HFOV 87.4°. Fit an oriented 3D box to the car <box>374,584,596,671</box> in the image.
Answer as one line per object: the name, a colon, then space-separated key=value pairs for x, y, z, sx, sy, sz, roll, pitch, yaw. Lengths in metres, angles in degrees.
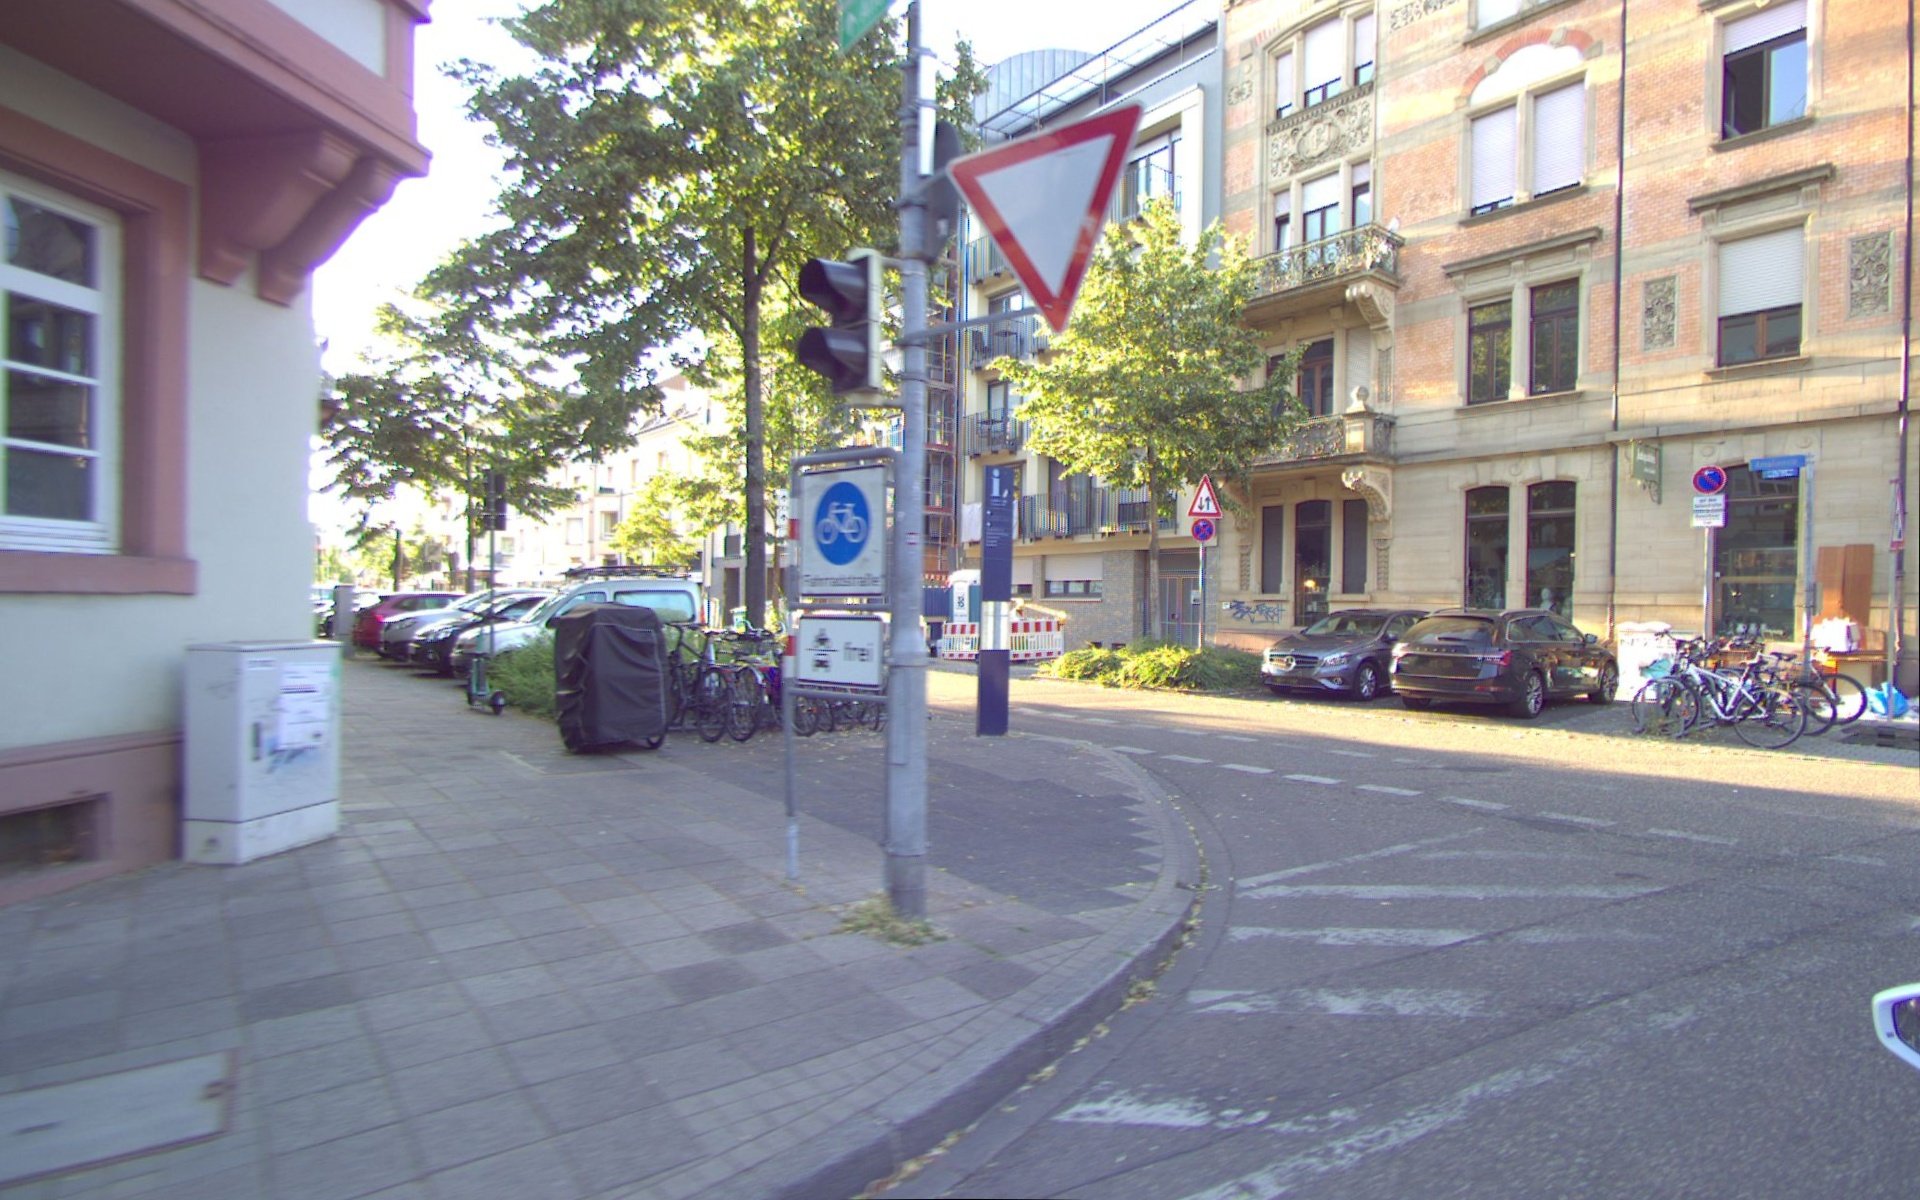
car: x=-9.579 y=0.587 z=20.341 sx=3.801 sy=1.606 sz=1.724 roll=3 pitch=-2 yaw=-36

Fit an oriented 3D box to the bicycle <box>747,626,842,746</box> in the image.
bicycle: x=-1.772 y=0.868 z=10.629 sx=0.310 sy=1.163 sz=1.596 roll=2 pitch=-2 yaw=-35

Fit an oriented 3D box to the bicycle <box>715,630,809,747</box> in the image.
bicycle: x=-2.082 y=0.876 z=10.431 sx=0.338 sy=1.096 sz=1.580 roll=1 pitch=-1 yaw=-35

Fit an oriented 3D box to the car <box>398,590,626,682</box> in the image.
car: x=-8.188 y=0.633 z=18.446 sx=3.623 sy=1.535 sz=1.634 roll=1 pitch=0 yaw=-33

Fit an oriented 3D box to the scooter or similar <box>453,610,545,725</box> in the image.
scooter or similar: x=-5.362 y=0.741 z=11.639 sx=0.672 sy=1.238 sz=1.380 roll=1 pitch=0 yaw=-38

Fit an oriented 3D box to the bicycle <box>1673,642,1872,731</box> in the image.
bicycle: x=11.141 y=1.150 z=13.851 sx=0.461 sy=1.054 sz=2.086 roll=1 pitch=0 yaw=-39

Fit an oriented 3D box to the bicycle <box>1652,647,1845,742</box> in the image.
bicycle: x=9.835 y=1.145 z=12.594 sx=0.634 sy=1.027 sz=1.811 roll=1 pitch=0 yaw=-39

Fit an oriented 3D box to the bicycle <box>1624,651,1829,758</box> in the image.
bicycle: x=8.901 y=1.171 z=11.738 sx=0.566 sy=1.061 sz=1.814 roll=0 pitch=0 yaw=-35

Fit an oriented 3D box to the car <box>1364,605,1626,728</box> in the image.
car: x=8.166 y=0.873 z=15.174 sx=4.501 sy=1.531 sz=1.890 roll=-1 pitch=0 yaw=-39

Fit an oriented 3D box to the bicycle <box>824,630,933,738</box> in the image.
bicycle: x=-0.965 y=0.919 z=11.488 sx=0.393 sy=1.123 sz=1.695 roll=3 pitch=-2 yaw=-35

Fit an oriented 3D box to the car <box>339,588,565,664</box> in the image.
car: x=-11.217 y=0.565 z=22.352 sx=4.189 sy=1.536 sz=1.741 roll=1 pitch=-1 yaw=-42

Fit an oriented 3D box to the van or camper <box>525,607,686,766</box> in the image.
van or camper: x=-3.253 y=0.721 z=9.116 sx=0.934 sy=1.276 sz=1.828 roll=3 pitch=-2 yaw=-33

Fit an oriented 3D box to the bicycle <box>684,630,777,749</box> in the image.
bicycle: x=-2.359 y=0.870 z=10.213 sx=0.320 sy=1.096 sz=1.580 roll=1 pitch=-1 yaw=-35

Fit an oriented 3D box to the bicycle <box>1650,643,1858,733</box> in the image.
bicycle: x=10.522 y=1.129 z=13.385 sx=0.634 sy=1.027 sz=2.086 roll=1 pitch=0 yaw=-39

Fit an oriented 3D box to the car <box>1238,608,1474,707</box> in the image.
car: x=6.960 y=0.893 z=17.454 sx=4.501 sy=1.499 sz=1.847 roll=0 pitch=0 yaw=-39

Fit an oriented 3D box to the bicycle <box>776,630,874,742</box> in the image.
bicycle: x=-1.489 y=0.897 z=10.910 sx=0.317 sy=1.096 sz=1.580 roll=3 pitch=-2 yaw=-35

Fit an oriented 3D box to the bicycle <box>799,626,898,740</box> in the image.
bicycle: x=-1.267 y=0.884 z=11.197 sx=0.328 sy=1.155 sz=1.580 roll=3 pitch=-2 yaw=-35

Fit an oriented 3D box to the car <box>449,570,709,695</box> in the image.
car: x=-6.320 y=0.523 z=16.804 sx=3.785 sy=1.874 sz=1.683 roll=1 pitch=-1 yaw=-35

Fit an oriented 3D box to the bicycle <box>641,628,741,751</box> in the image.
bicycle: x=-2.696 y=0.848 z=9.975 sx=0.393 sy=1.096 sz=1.580 roll=3 pitch=-2 yaw=-35
